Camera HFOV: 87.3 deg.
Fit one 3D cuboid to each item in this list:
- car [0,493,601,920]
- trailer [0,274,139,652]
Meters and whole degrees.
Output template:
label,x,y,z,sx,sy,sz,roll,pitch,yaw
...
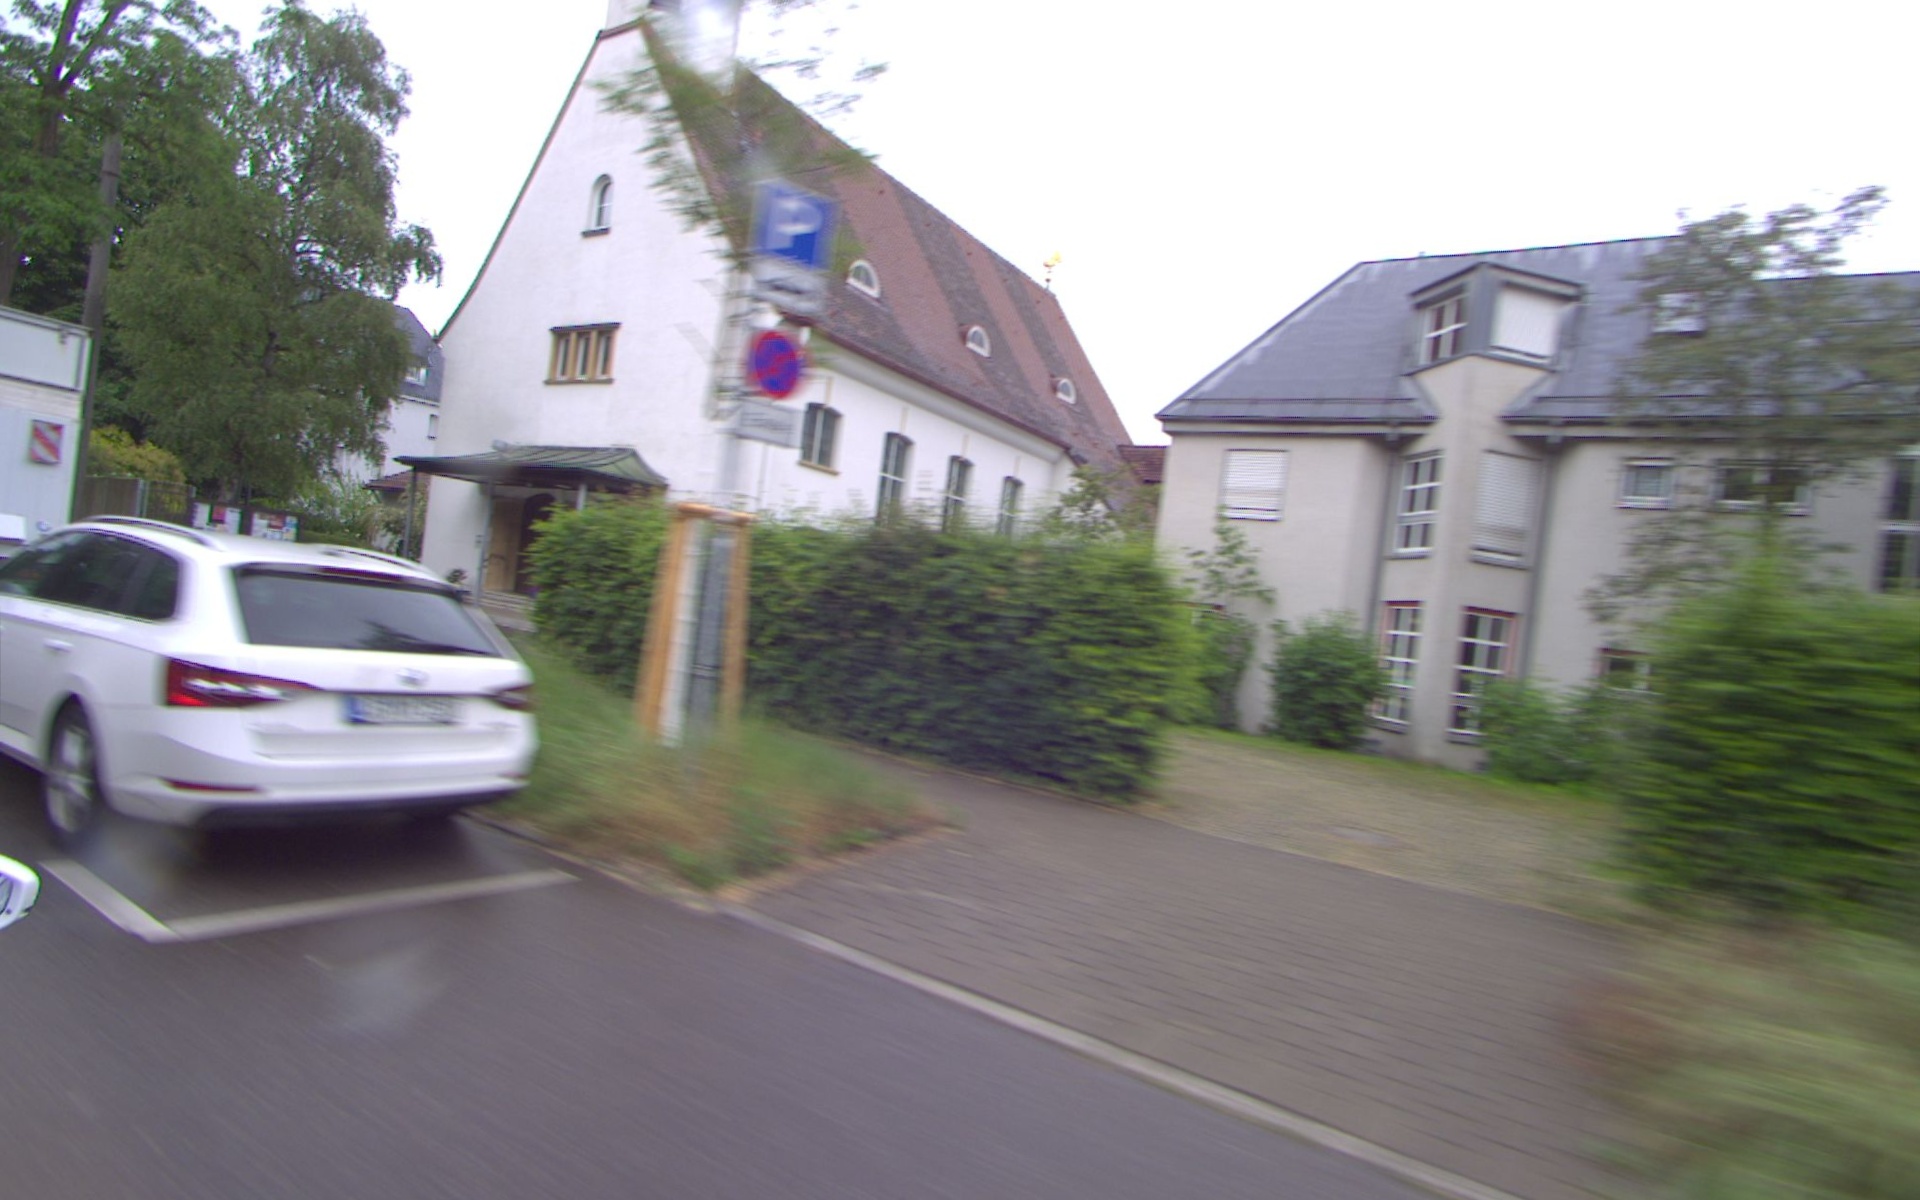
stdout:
label,x,y,z,sx,sy,sz,roll,pitch,yaw
car,-4.298,0.314,5.677,4.474,1.491,1.799,7,-2,33
trailer,-12.852,-1.752,11.543,8.114,3.549,2.738,7,-2,34
